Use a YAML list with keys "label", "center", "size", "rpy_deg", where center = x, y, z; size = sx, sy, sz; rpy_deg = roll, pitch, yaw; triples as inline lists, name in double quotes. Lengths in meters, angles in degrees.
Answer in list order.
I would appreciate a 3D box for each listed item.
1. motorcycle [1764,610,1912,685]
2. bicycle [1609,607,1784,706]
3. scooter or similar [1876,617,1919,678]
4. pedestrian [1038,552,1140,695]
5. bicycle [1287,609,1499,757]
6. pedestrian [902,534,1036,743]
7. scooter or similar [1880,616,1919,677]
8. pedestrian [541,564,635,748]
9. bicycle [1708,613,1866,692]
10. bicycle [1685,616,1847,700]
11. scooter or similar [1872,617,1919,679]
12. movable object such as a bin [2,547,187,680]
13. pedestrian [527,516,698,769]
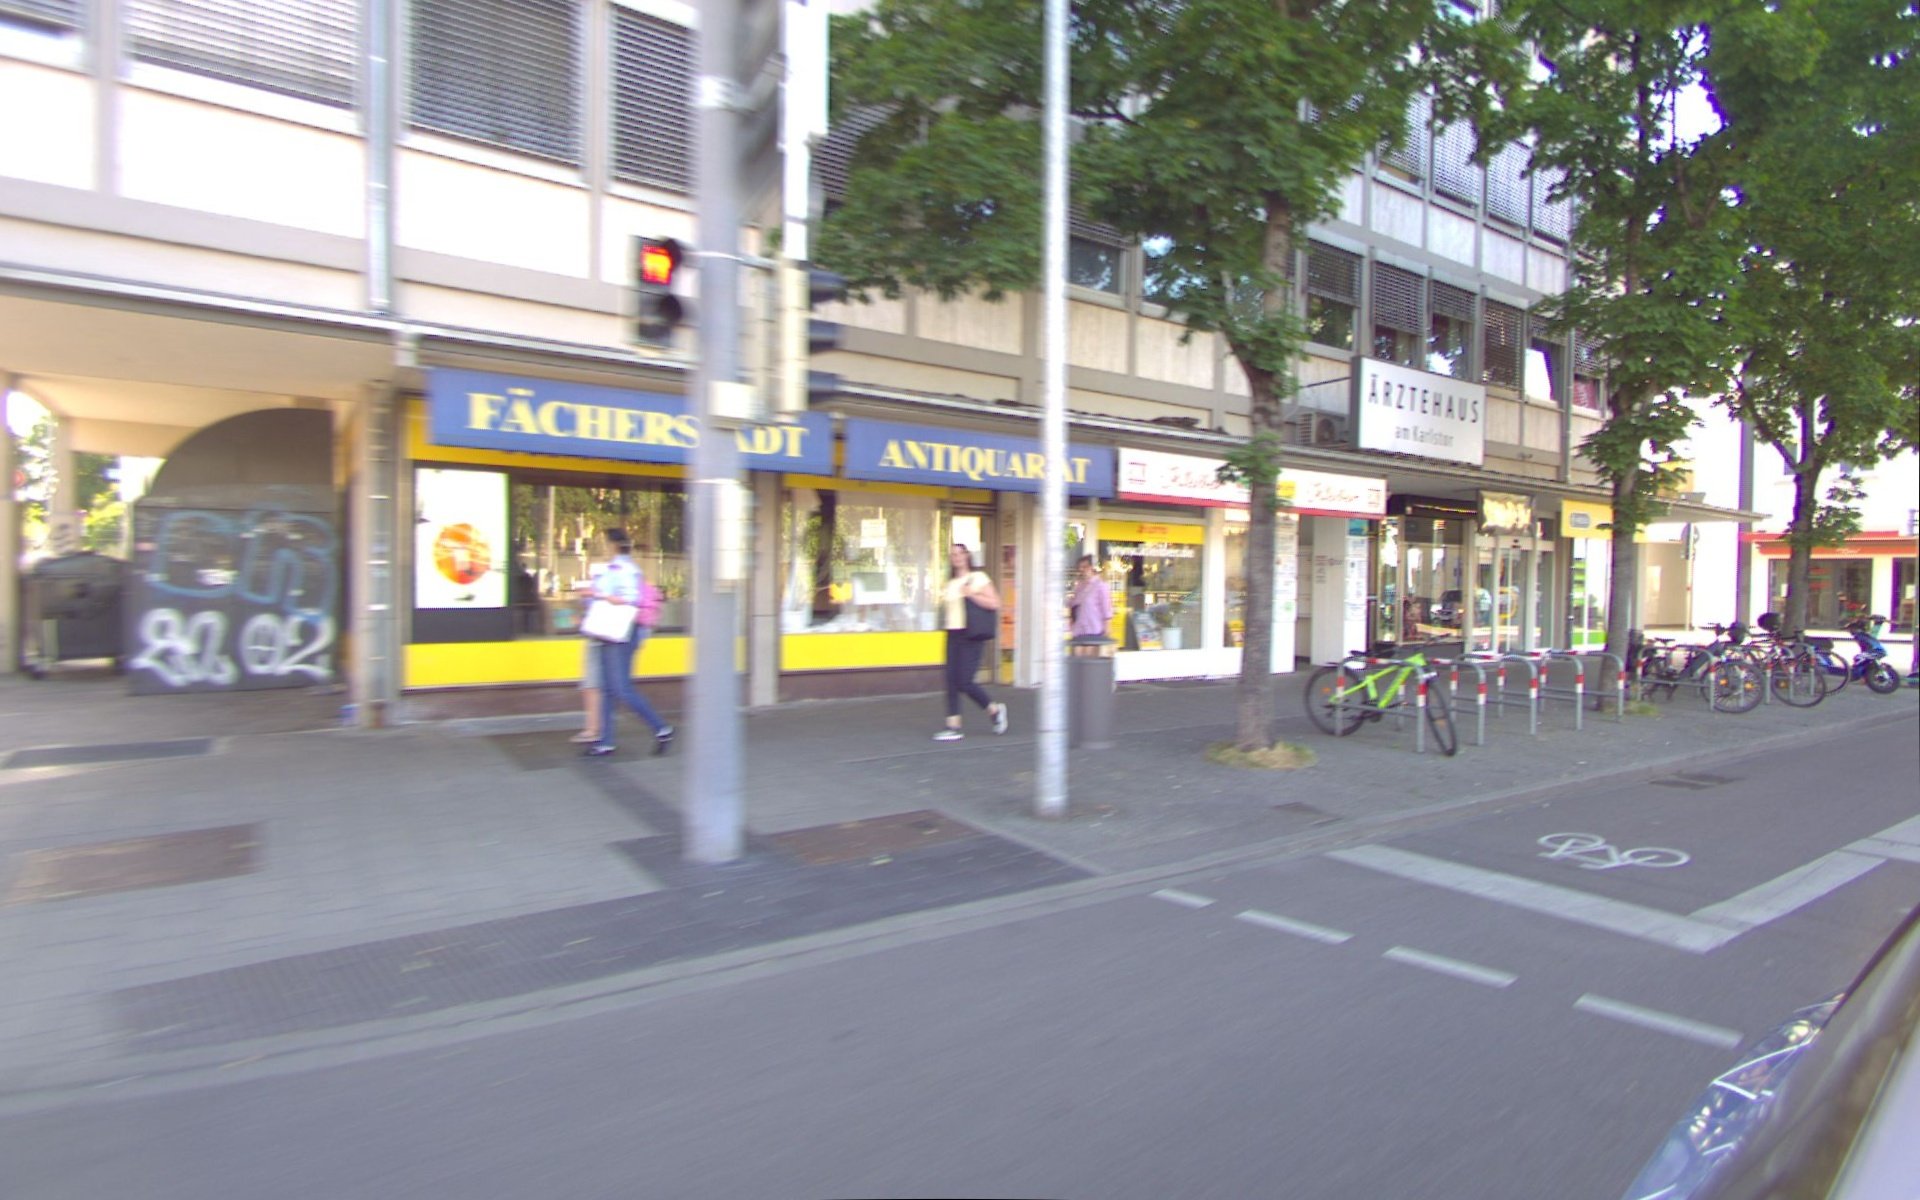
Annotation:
- label: "motorcycle"
  center: [14.601, 0.755, 16.882]
  size: [0.494, 1.144, 1.794]
  rpy_deg: [0, 0, -32]
- label: "bicycle"
  center: [9.733, 0.714, 13.450]
  size: [0.427, 1.166, 1.815]
  rpy_deg: [0, 1, -36]
- label: "scooter or similar"
  center: [16.741, 0.836, 17.770]
  size: [0.156, 1.052, 0.960]
  rpy_deg: [1, 1, -30]
- label: "pedestrian"
  center: [1.532, 0.257, 12.066]
  size: [0.863, 1.622, 0.846]
  rpy_deg: [0, 0, -33]
- label: "bicycle"
  center: [4.047, 0.724, 9.636]
  size: [0.471, 1.170, 1.898]
  rpy_deg: [0, 3, -32]
- label: "pedestrian"
  center: [0.071, 0.315, 8.968]
  size: [0.863, 1.728, 0.846]
  rpy_deg: [0, 0, -33]
- label: "scooter or similar"
  center: [16.909, 0.824, 17.868]
  size: [0.156, 1.056, 0.968]
  rpy_deg: [1, 1, -30]
- label: "pedestrian"
  center: [-3.071, 0.434, 8.342]
  size: [0.609, 1.440, 0.647]
  rpy_deg: [0, 0, -31]
- label: "bicycle"
  center: [12.883, 0.785, 15.814]
  size: [0.392, 1.069, 1.852]
  rpy_deg: [0, 2, -43]
- label: "bicycle"
  center: [11.460, 0.797, 14.458]
  size: [0.448, 1.070, 1.775]
  rpy_deg: [0, 1, -27]
- label: "scooter or similar"
  center: [16.578, 0.837, 17.661]
  size: [0.156, 1.040, 0.968]
  rpy_deg: [1, 1, -30]
- label: "movable object such as a bin"
  center: [-10.536, 0.112, 12.445]
  size: [1.423, 1.487, 1.918]
  rpy_deg: [-1, 2, -32]
- label: "pedestrian"
  center: [-2.558, 0.283, 7.514]
  size: [0.868, 1.743, 0.840]
  rpy_deg: [0, 0, 19]
